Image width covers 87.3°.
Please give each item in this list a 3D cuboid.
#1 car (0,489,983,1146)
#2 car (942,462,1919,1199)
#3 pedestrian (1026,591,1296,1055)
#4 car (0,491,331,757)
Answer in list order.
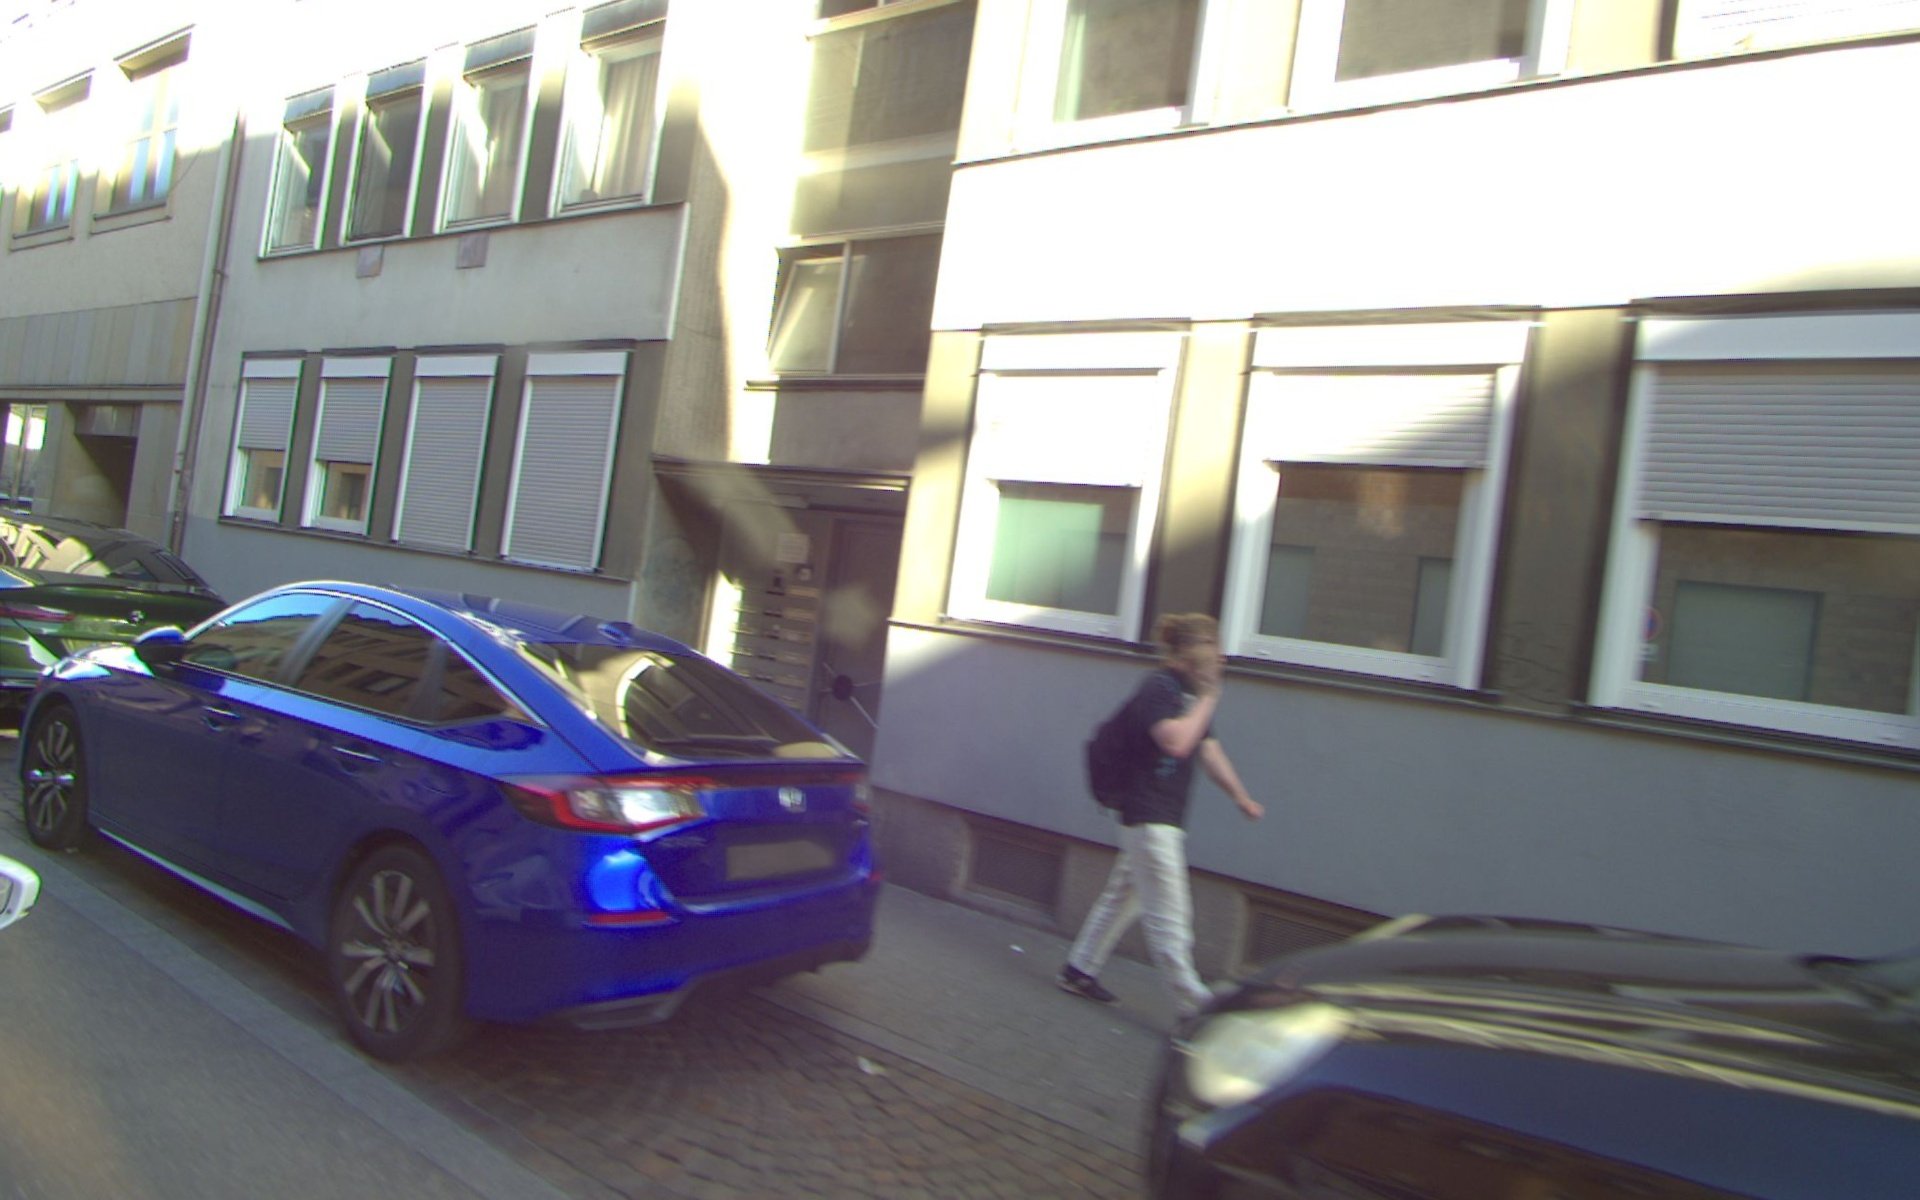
[{"bbox_3d":[-2.461,0.544,4.593,4.709,1.428,1.813,8,-3,30],"label":"car"},{"bbox_3d":[2.646,1.055,1.325,4.968,1.806,2.108,8,-2,32],"label":"car"},{"bbox_3d":[0.900,0.892,4.428,0.734,1.743,0.789,8,2,31],"label":"pedestrian"},{"bbox_3d":[-7.169,-0.063,7.554,5.138,1.469,1.899,8,-2,31],"label":"car"}]
